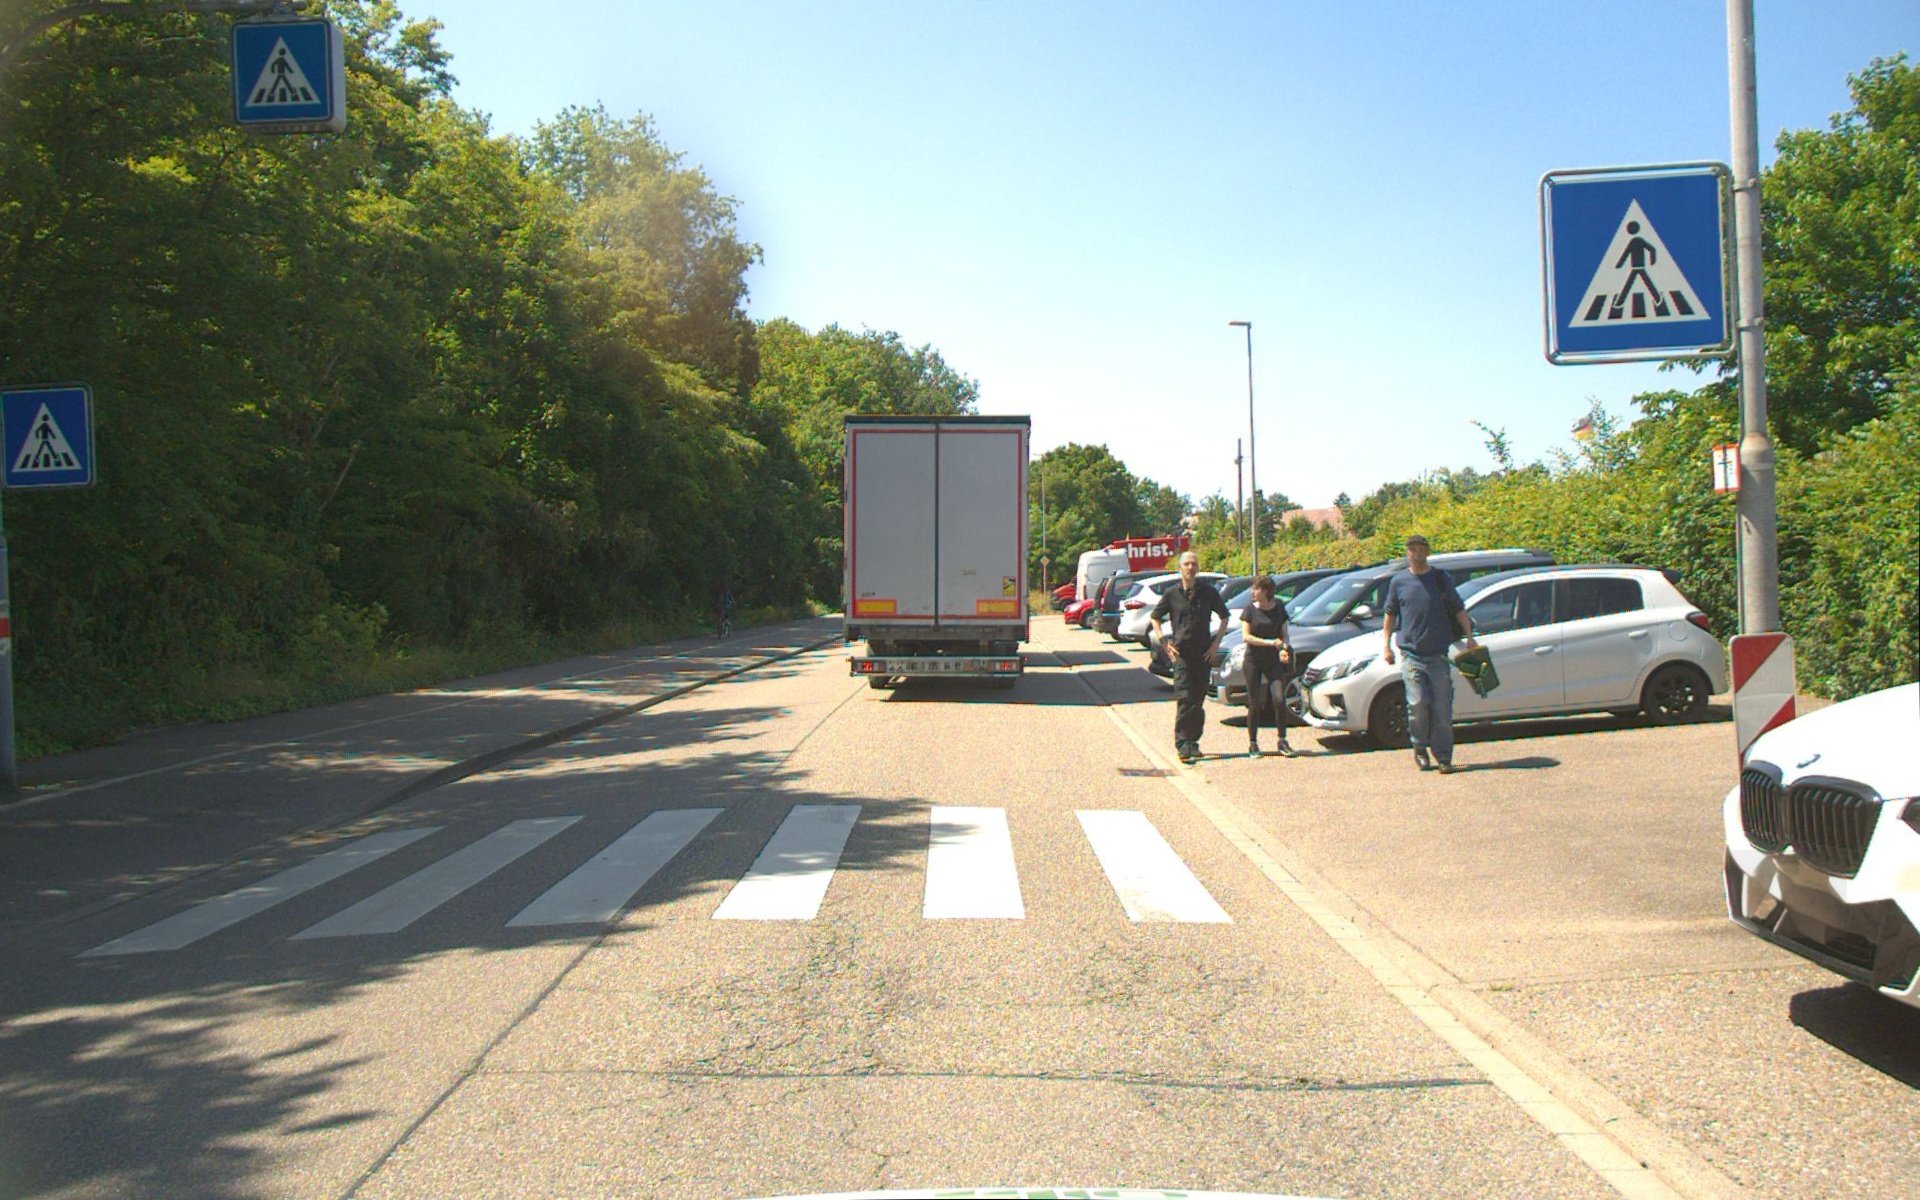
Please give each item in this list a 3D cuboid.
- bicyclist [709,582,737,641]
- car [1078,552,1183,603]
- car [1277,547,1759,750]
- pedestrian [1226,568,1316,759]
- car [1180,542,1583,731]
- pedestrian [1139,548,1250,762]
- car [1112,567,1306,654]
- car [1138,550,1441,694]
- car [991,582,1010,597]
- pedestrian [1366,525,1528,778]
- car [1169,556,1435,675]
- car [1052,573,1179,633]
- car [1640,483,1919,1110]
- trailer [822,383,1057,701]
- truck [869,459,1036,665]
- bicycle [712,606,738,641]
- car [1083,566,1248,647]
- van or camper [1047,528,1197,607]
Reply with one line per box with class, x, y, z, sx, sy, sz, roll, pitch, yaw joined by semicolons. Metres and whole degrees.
bicyclist;-7.392;0.358;51.514;0.702;1.789;0.796;-1;0;2
car;6.520;-0.863;63.591;3.874;1.829;1.814;-1;0;1
car;5.118;0.431;15.609;3.874;1.505;1.814;-5;0;3
pedestrian;2.805;0.560;14.970;0.577;1.642;0.745;-5;0;3
car;4.626;0.380;18.478;3.882;1.697;1.810;-5;0;-7
pedestrian;2.155;0.493;15.296;0.805;1.866;0.793;-5;0;3
car;5.475;0.222;36.704;3.880;1.647;1.811;-3;0;-5
car;4.769;0.277;24.171;3.884;1.696;1.810;-5;3;-9
car;4.441;-1.190;180.871;1.743;1.512;4.003;-3;1;7
pedestrian;3.771;0.388;12.896;0.889;1.829;0.935;-5;0;3
car;5.662;0.246;27.621;3.884;1.613;1.810;-5;0;-9
car;5.220;0.096;55.813;3.880;1.697;1.811;-5;0;-5
car;4.723;0.417;5.232;4.318;1.727;1.875;-3;0;-4
trailer;-0.180;-0.807;27.768;3.048;4.174;11.538;-1;0;1
truck;-0.097;-0.736;34.147;3.050;3.790;6.414;-1;0;1
bicycle;-7.331;0.718;51.604;0.444;1.065;2.203;-1;0;1
car;5.290;0.156;42.853;3.880;1.796;1.811;-4;0;-5
van or camper;7.911;-1.555;80.428;6.894;3.649;2.775;-1;0;12
